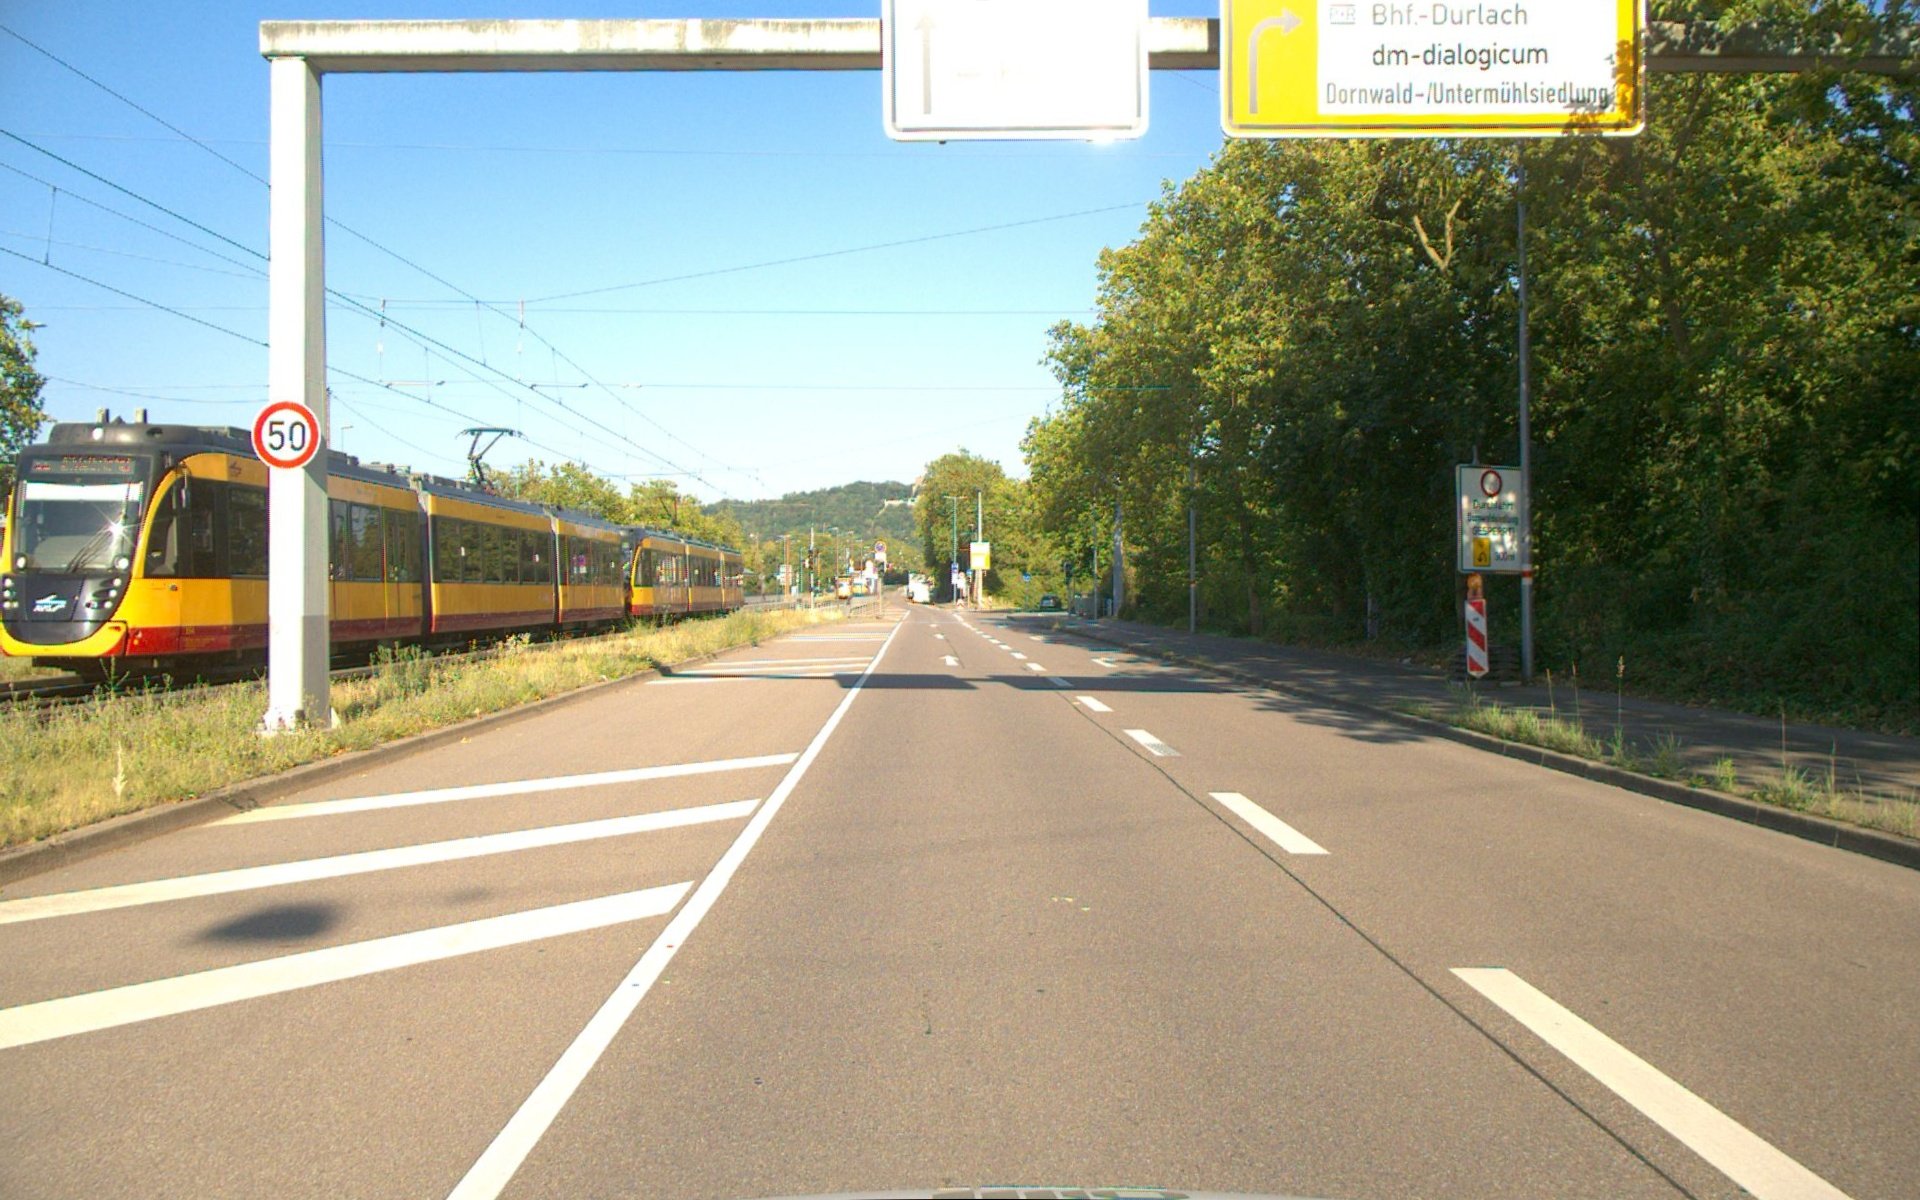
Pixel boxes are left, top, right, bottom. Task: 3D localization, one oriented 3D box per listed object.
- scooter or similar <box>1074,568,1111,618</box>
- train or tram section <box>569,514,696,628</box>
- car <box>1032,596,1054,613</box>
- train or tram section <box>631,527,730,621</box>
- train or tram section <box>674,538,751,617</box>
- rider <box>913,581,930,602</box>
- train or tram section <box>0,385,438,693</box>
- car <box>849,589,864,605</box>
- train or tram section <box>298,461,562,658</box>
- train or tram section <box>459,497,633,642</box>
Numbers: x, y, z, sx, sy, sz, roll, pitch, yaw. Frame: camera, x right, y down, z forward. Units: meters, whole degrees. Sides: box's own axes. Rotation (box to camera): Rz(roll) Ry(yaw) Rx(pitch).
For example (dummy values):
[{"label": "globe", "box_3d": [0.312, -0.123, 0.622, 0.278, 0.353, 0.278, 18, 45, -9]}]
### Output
[{"label": "scooter or similar", "box_3d": [7.556, -0.412, 94.888, 1.647, 2.763, 4.868, 1, 0, -1]}, {"label": "train or tram section", "box_3d": [-12.806, -1.050, 65.922, 2.767, 4.019, 12.703, 1, 0, -1]}, {"label": "car", "box_3d": [8.257, 0.442, 165.186, 2.042, 1.593, 3.957, 1, 0, 5]}, {"label": "train or tram section", "box_3d": [-13.102, -1.147, 78.598, 2.767, 4.019, 12.650, 1, 0, -1]}, {"label": "train or tram section", "box_3d": [-13.396, -1.161, 90.323, 2.767, 4.019, 10.831, 1, 0, -1]}, {"label": "rider", "box_3d": [-4.908, -1.040, 208.843, 2.064, 2.693, 0.737, 0, 0, 4]}, {"label": "train or tram section", "box_3d": [-11.930, -0.804, 27.677, 2.747, 3.971, 12.328, 1, 0, -2]}, {"label": "car", "box_3d": [-14.282, -0.404, 228.315, 1.953, 2.049, 3.999, 1, 0, -1]}, {"label": "train or tram section", "box_3d": [-12.288, -0.829, 39.854, 2.747, 3.971, 11.986, 1, 0, -2]}, {"label": "train or tram section", "box_3d": [-12.640, -0.843, 51.764, 2.747, 3.971, 11.808, 1, 0, -2]}]
